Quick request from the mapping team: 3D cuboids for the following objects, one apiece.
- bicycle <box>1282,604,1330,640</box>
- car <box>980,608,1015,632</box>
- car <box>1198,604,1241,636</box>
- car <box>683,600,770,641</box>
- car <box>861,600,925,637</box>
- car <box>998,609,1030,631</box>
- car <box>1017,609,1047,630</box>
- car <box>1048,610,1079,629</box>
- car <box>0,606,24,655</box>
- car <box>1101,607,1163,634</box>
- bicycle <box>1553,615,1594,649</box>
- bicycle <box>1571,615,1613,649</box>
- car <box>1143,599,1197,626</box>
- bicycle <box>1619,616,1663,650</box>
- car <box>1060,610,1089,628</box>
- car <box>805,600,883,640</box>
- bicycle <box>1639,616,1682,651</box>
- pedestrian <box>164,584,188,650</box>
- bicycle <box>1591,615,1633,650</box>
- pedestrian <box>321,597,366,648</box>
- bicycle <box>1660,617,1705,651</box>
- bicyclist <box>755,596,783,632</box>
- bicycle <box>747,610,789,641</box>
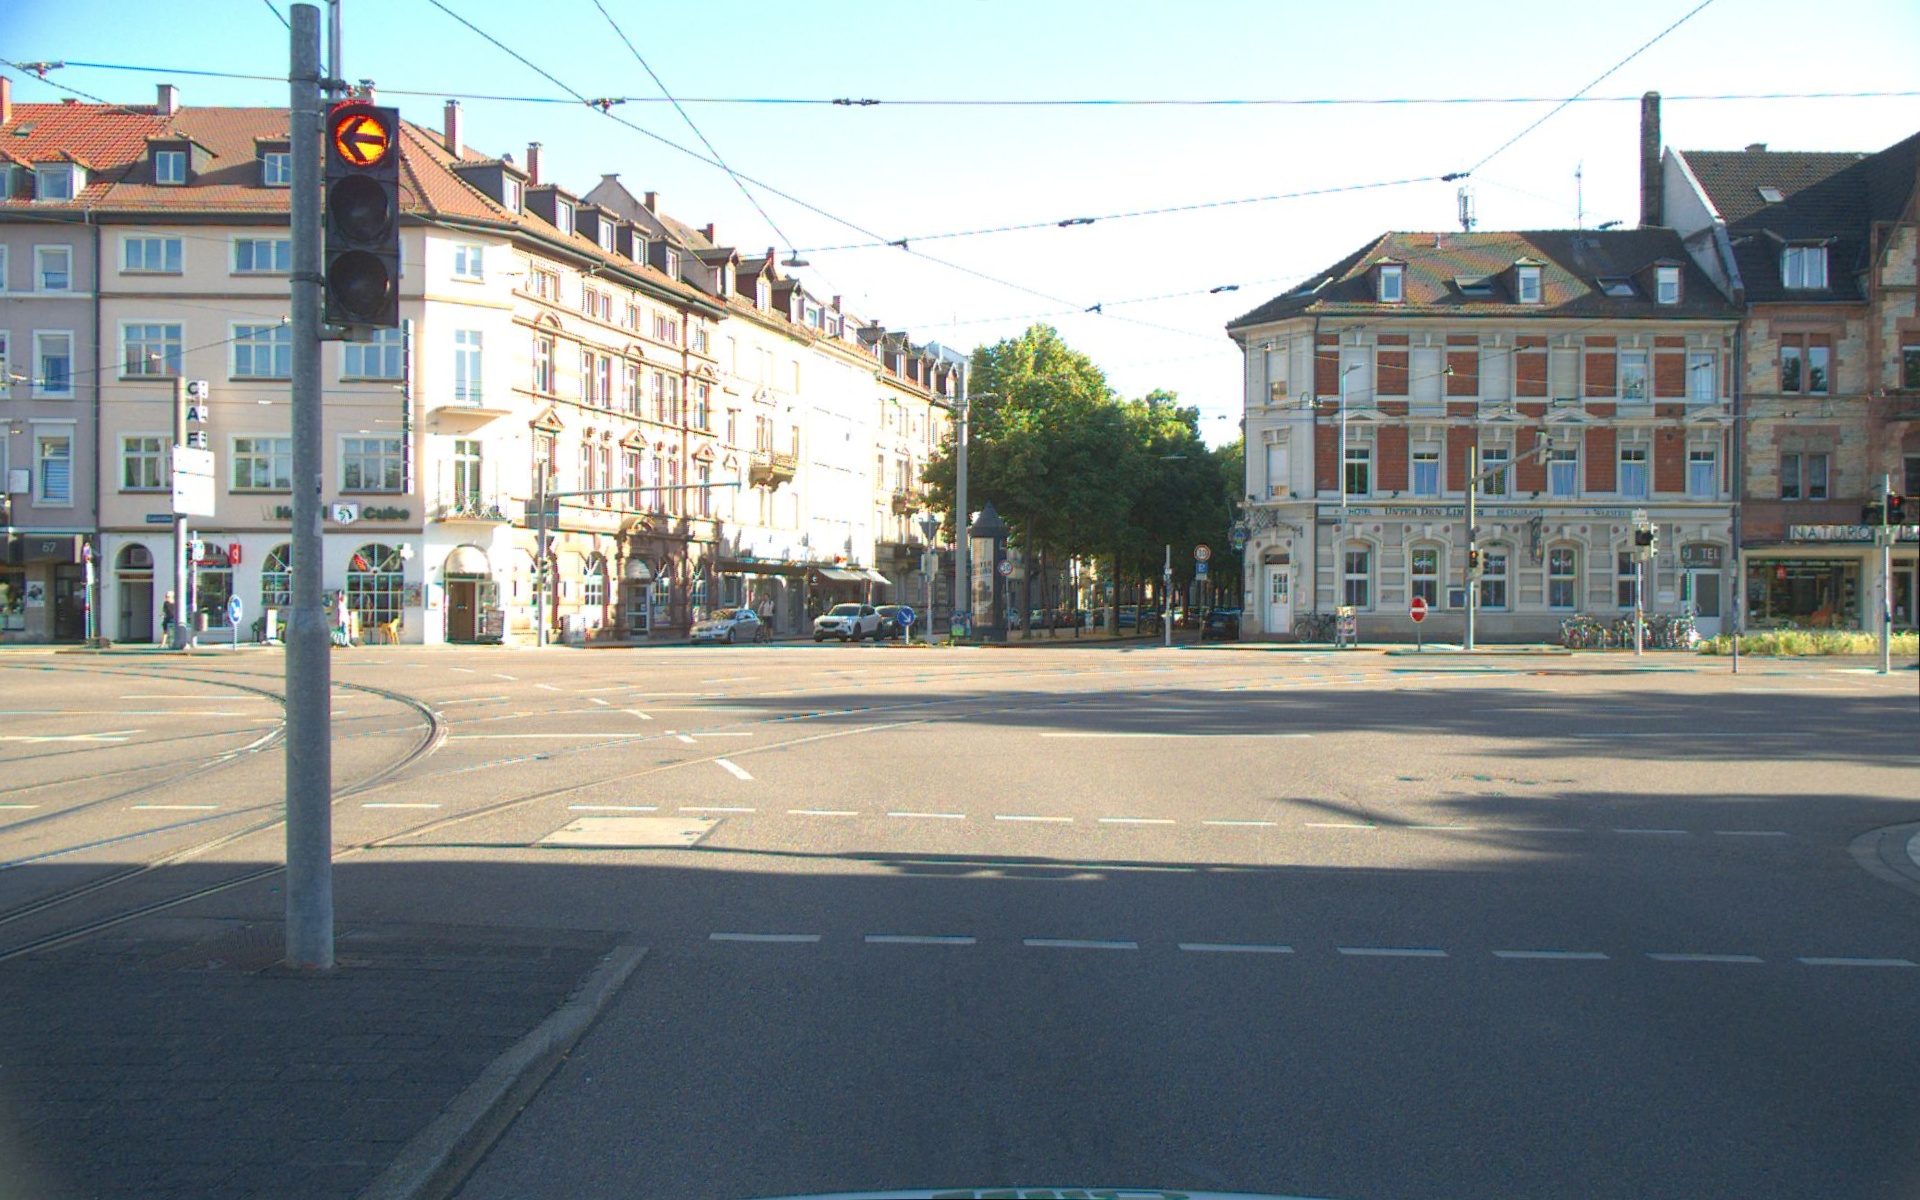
[{"bbox_3d":[11.975,0.763,57.294,1.603,1.243,0.607,0,0,16],"label":"bicycle"},{"bbox_3d":[2.529,1.311,110.009,1.704,1.422,4.127,3,0,9],"label":"car"},{"bbox_3d":[12.975,1.003,82.458,1.616,1.551,3.755,0,-1,17],"label":"car"},{"bbox_3d":[-9.451,0.811,67.214,2.052,1.572,4.367,0,0,13],"label":"car"},{"bbox_3d":[-2.959,0.797,73.466,1.951,1.540,4.004,0,0,11],"label":"car"},{"bbox_3d":[3.807,1.358,115.833,1.704,1.422,4.127,3,0,9],"label":"car"},{"bbox_3d":[5.338,1.414,122.833,1.704,1.422,4.127,3,0,9],"label":"car"},{"bbox_3d":[8.248,1.539,131.699,1.704,1.422,4.127,3,0,13],"label":"car"},{"bbox_3d":[-32.064,0.997,52.150,3.910,1.489,1.998,-1,1,-6],"label":"car"},{"bbox_3d":[12.008,1.403,115.376,4.024,1.675,1.748,3,0,15],"label":"car"},{"bbox_3d":[19.824,1.025,53.504,0.593,1.069,1.641,0,0,-6],"label":"bicycle"},{"bbox_3d":[20.465,1.036,53.559,0.593,1.069,1.641,0,0,-6],"label":"bicycle"},{"bbox_3d":[16.962,1.014,133.657,4.026,1.952,1.746,3,0,21],"label":"car"},{"bbox_3d":[21.942,1.060,53.317,0.593,1.069,1.641,0,0,-6],"label":"bicycle"},{"bbox_3d":[9.426,1.575,136.495,1.704,1.422,4.127,3,0,13],"label":"car"},{"bbox_3d":[-4.651,0.789,67.073,2.052,1.525,4.003,0,0,13],"label":"car"},{"bbox_3d":[22.603,1.072,53.393,0.593,1.069,1.641,0,0,-6],"label":"bicycle"},{"bbox_3d":[-24.668,0.537,52.029,0.498,2.049,0.505,0,0,2],"label":"pedestrian"},{"bbox_3d":[21.116,1.047,53.585,0.593,1.069,1.641,0,0,-6],"label":"bicycle"},{"bbox_3d":[-20.089,0.725,53.898,1.043,1.618,1.042,0,0,1],"label":"pedestrian"},{"bbox_3d":[23.329,1.085,53.414,0.593,1.069,1.641,0,0,-6],"label":"bicycle"},{"bbox_3d":[-7.559,0.543,65.458,0.776,1.399,1.109,0,0,14],"label":"bicyclist"},{"bbox_3d":[-7.574,0.994,65.488,0.734,1.155,2.812,0,0,14],"label":"bicycle"}]
